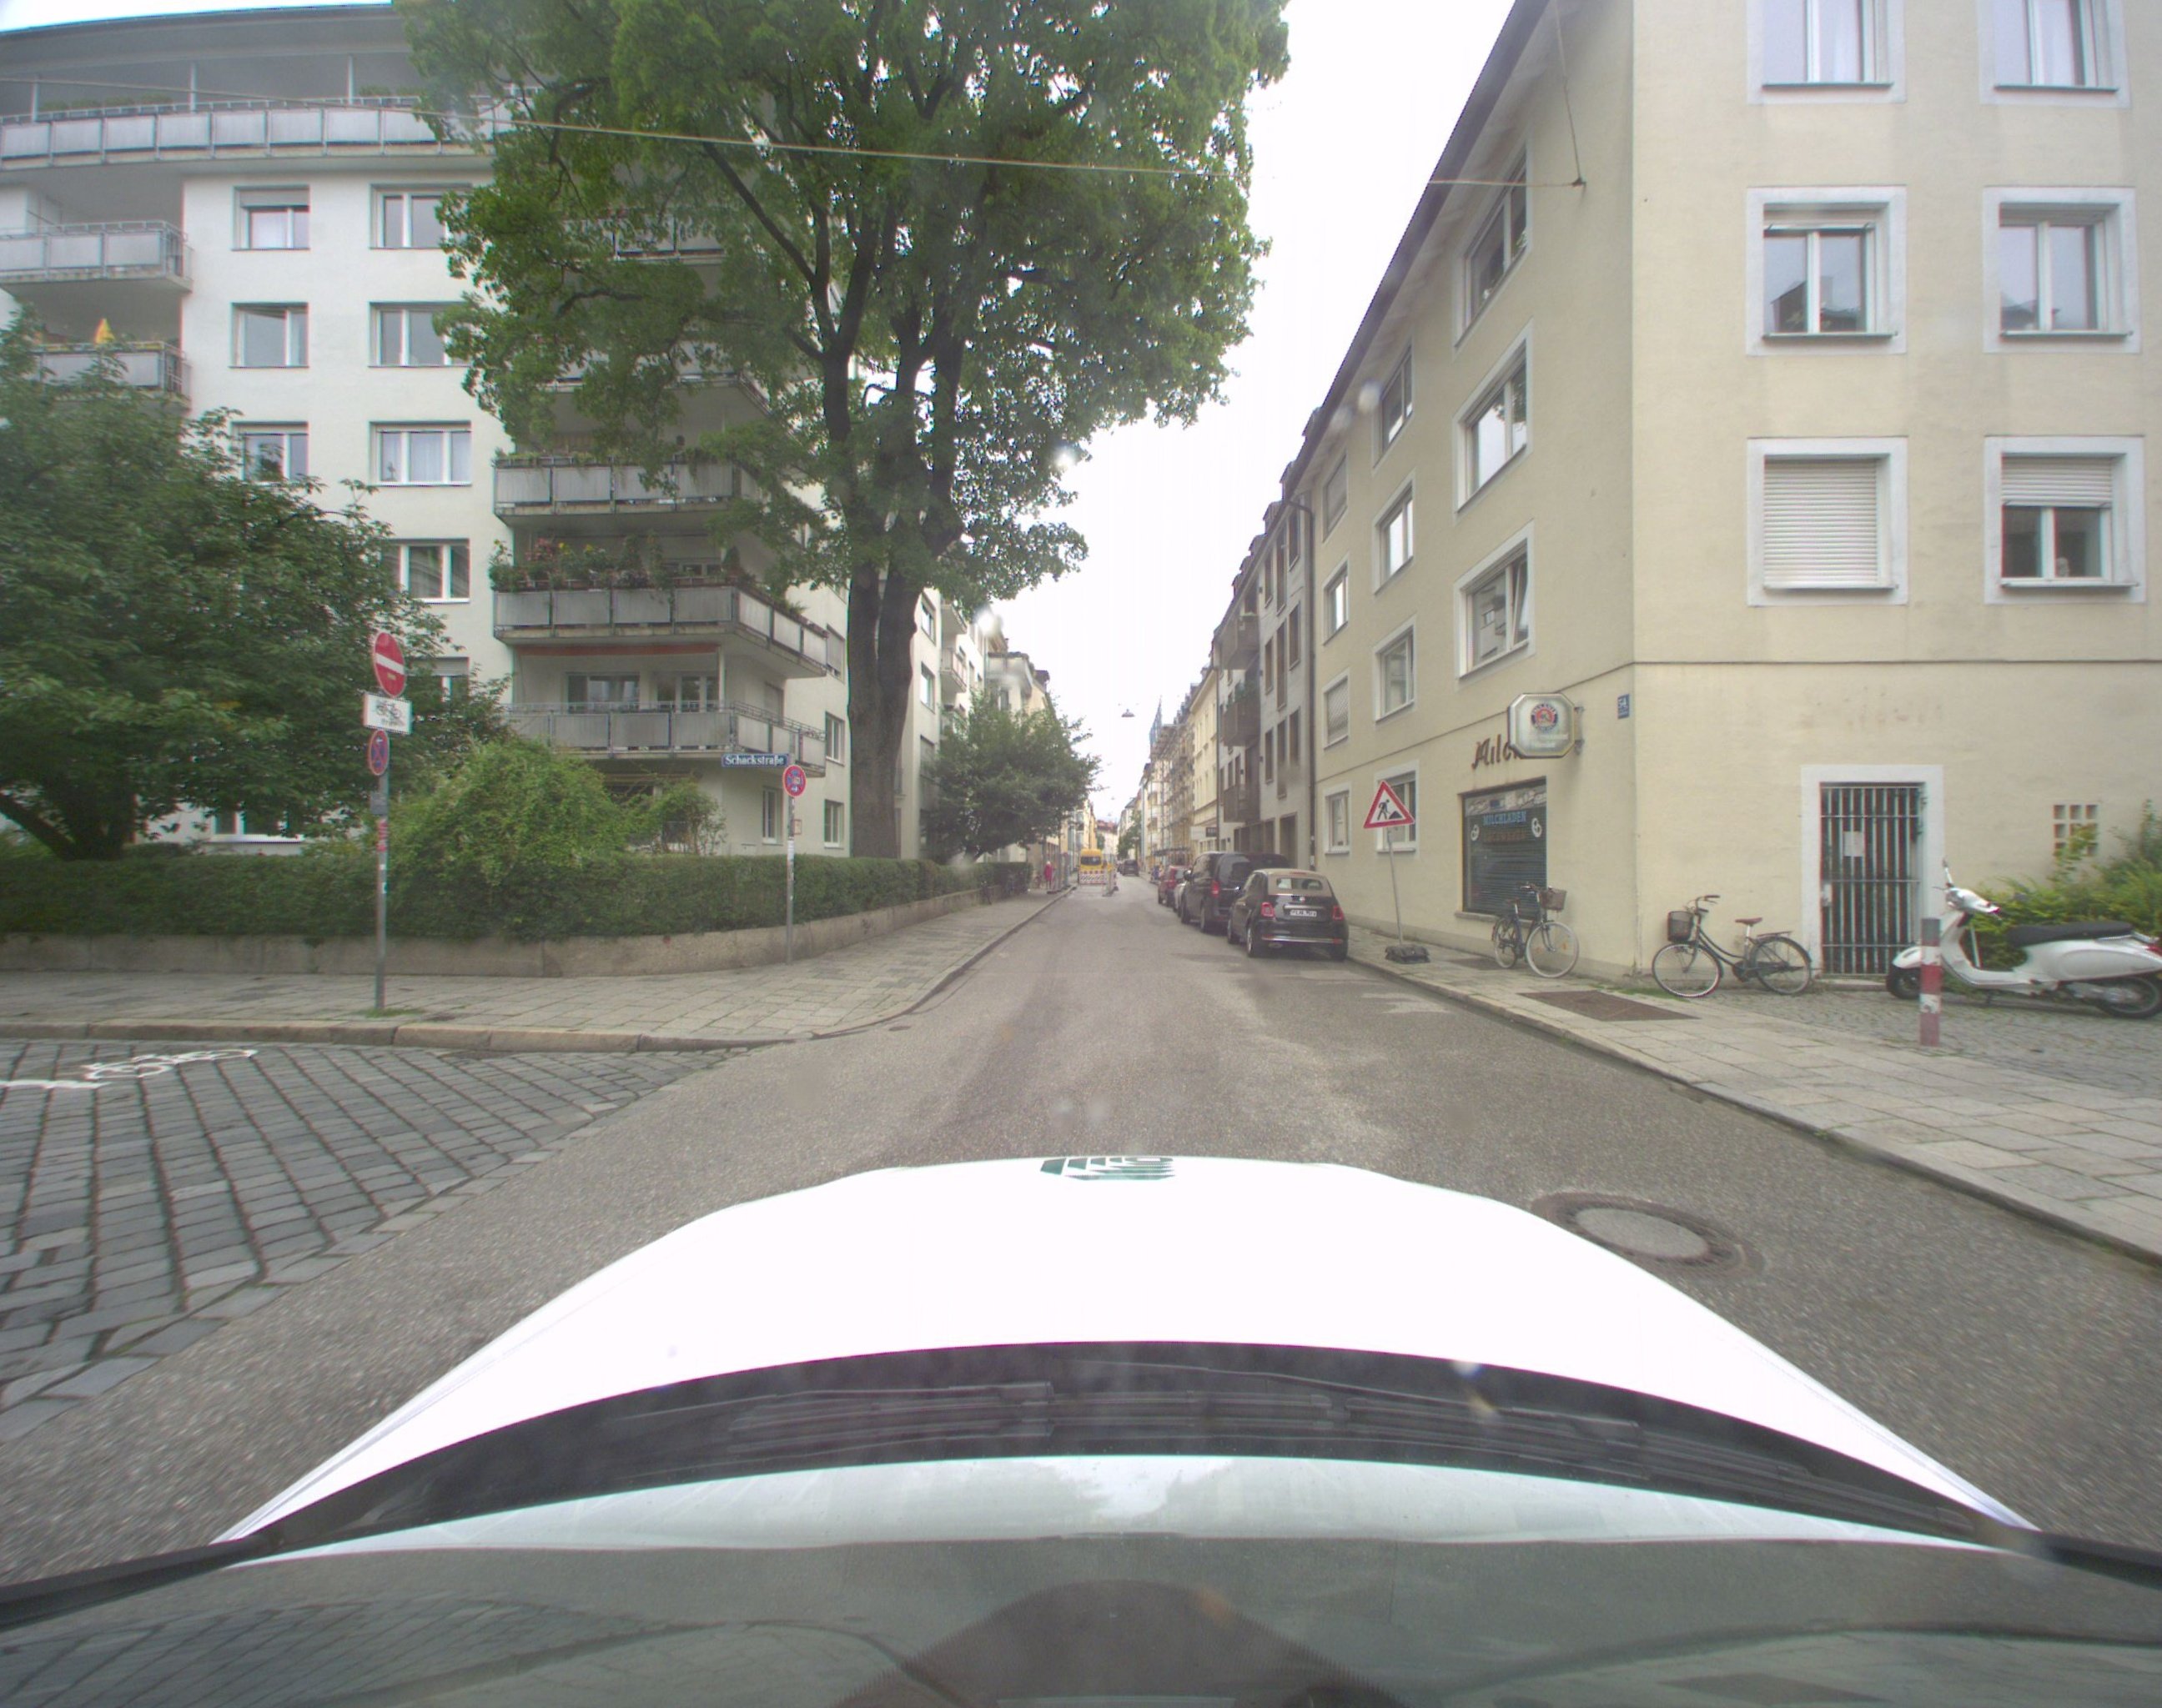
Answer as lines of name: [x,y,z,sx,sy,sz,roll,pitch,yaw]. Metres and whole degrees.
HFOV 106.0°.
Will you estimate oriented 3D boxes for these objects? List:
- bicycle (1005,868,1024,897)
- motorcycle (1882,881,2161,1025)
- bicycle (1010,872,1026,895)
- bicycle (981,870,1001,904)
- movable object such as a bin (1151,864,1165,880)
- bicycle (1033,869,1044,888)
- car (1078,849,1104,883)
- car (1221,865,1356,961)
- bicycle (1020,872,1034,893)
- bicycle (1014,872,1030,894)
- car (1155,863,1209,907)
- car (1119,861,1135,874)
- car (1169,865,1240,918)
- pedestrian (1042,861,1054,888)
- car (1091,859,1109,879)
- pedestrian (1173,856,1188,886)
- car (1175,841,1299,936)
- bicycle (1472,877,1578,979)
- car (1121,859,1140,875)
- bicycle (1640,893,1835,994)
bicycle: [-2.701,1.161,33.251,0.486,1.151,1.700,3,-2,3]
motorcycle: [8.790,0.852,7.566,0.624,1.121,1.853,-1,1,-36]
bicycle: [-2.745,1.298,35.716,0.434,0.978,1.700,3,-1,3]
bicycle: [-3.056,1.118,27.798,0.345,1.072,1.781,3,-1,2]
movable object such as a bin: [7.099,1.635,75.012,1.078,1.346,1.322,-3,-1,14]
bicycle: [-2.430,1.415,47.083,0.375,1.063,1.598,6,0,2]
car: [0.829,0.941,65.506,1.986,2.579,6.737,-1,-1,1]
car: [3.620,0.965,14.792,1.628,1.471,3.539,2,-1,2]
bicycle: [-2.592,1.353,39.142,0.442,0.978,1.817,3,-1,3]
bicycle: [-2.676,1.322,37.277,0.442,0.978,1.855,3,-1,3]
car: [3.774,1.123,30.918,1.764,1.524,4.070,2,-1,4]
car: [6.032,1.718,107.489,1.887,1.641,4.322,0,0,1]
car: [3.790,1.104,25.682,1.761,1.461,4.383,2,-1,3]
pedestrian: [-1.871,1.172,46.215,0.635,1.532,0.748,0,-1,4]
car: [1.872,1.481,80.610,1.721,1.897,5.510,-2,-1,1]
pedestrian: [5.964,1.029,48.831,0.727,1.752,0.988,-4,-1,1]
car: [3.617,0.758,19.792,1.984,1.977,4.883,2,-1,-1]
bicycle: [5.835,0.928,10.820,0.408,1.214,1.819,-2,-2,2]
car: [5.870,1.536,97.480,1.986,1.932,4.660,1,0,1]
bicycle: [7.004,0.946,8.723,1.695,1.027,0.411,-1,-2,1]
